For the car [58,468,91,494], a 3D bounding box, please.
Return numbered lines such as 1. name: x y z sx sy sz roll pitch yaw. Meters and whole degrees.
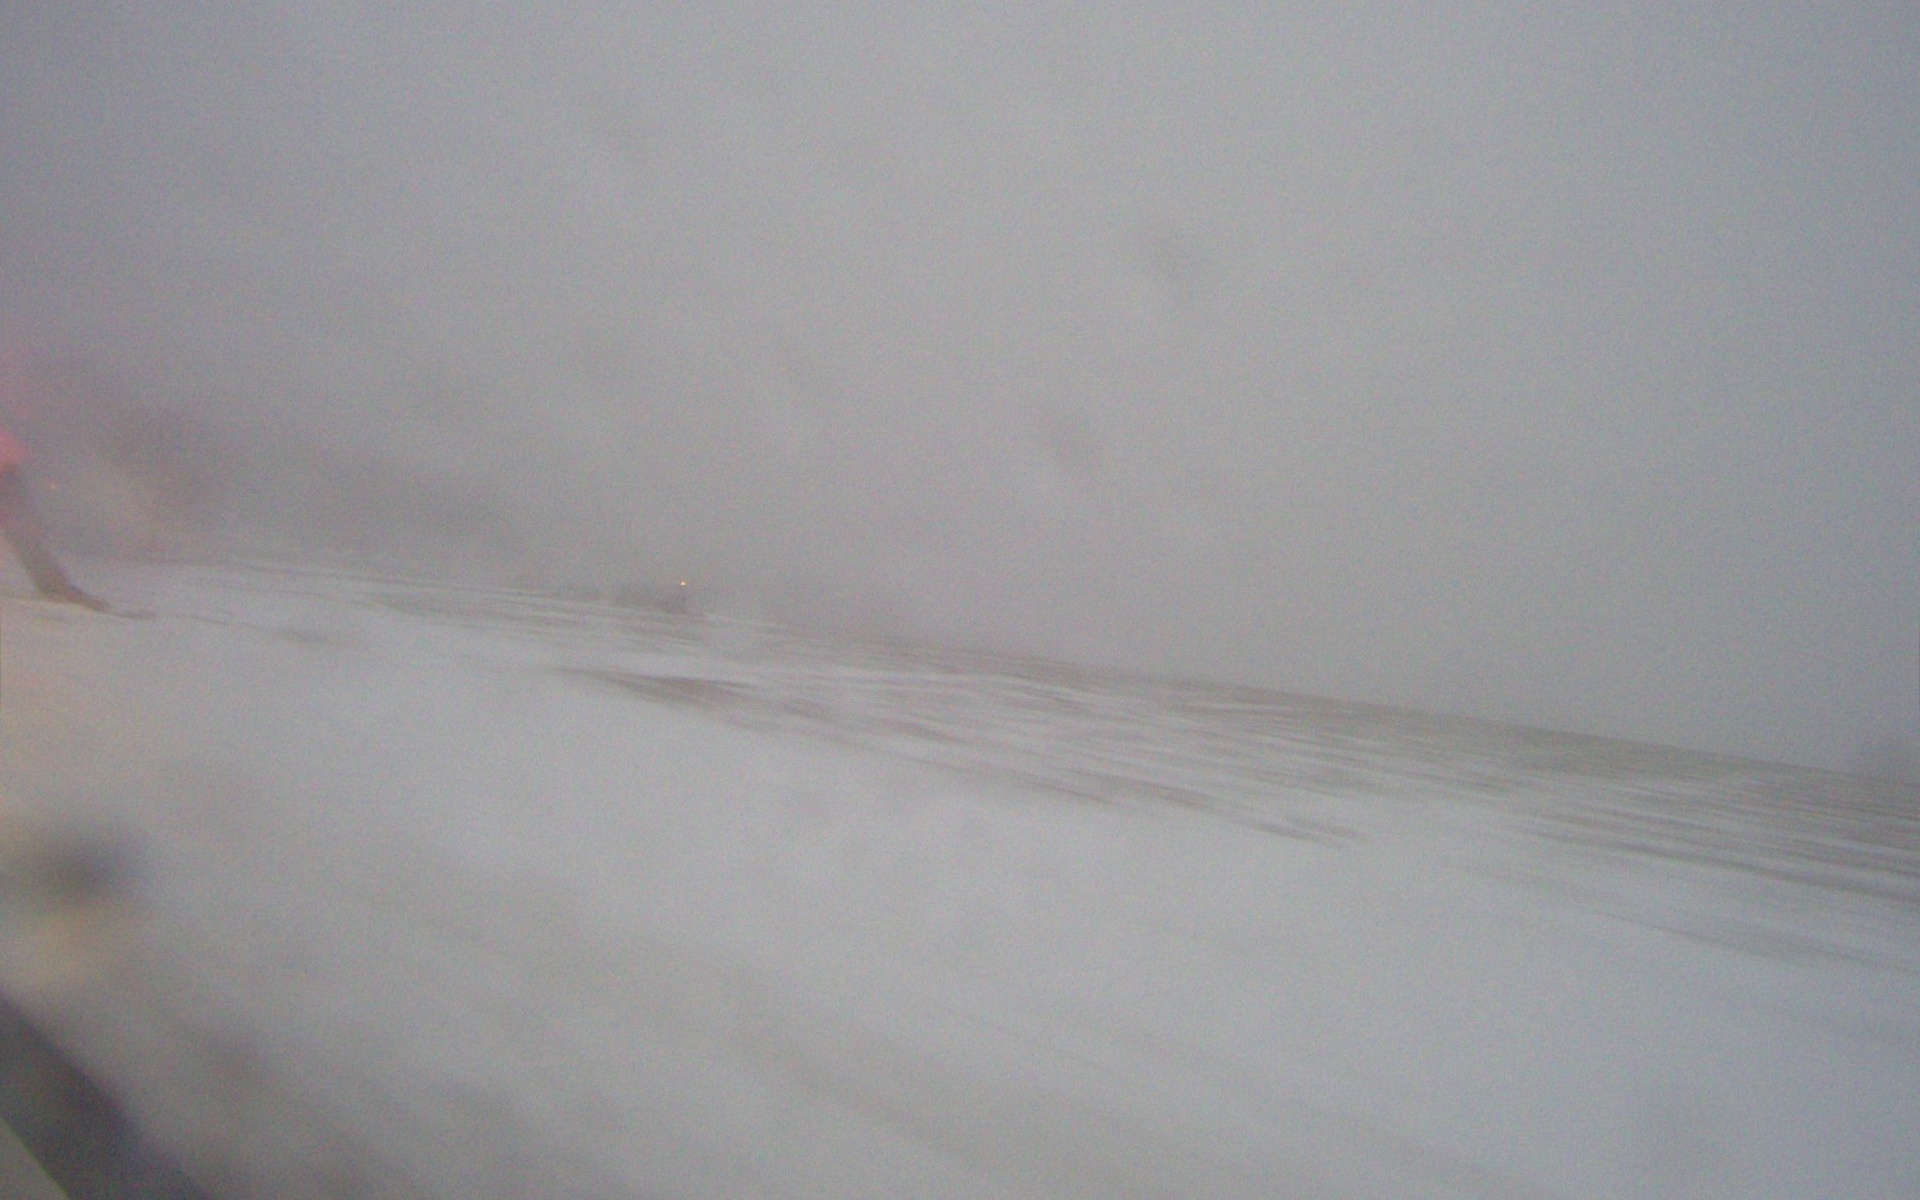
1. car: -67.185 -9.009 76.363 1.514 1.526 3.023 6 -1 -36
